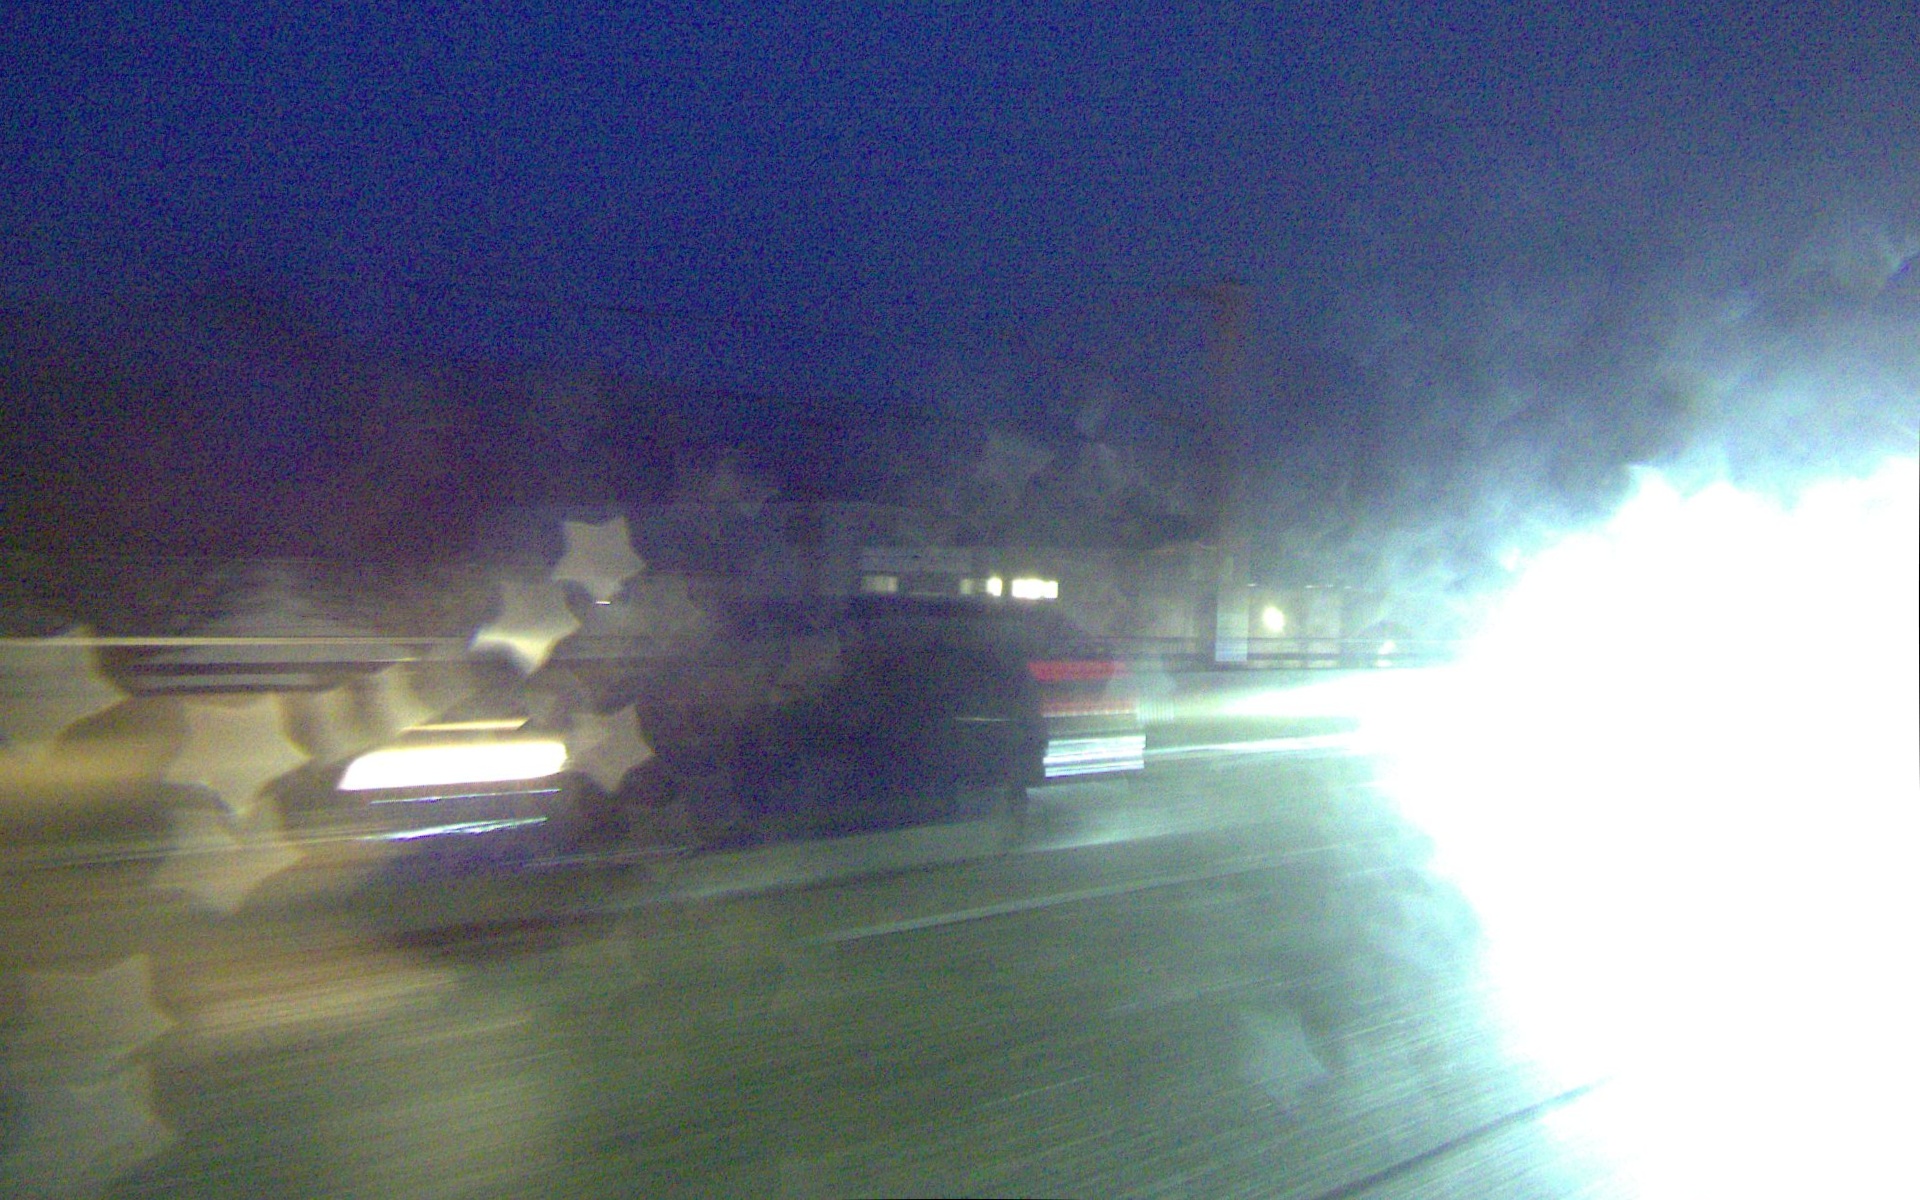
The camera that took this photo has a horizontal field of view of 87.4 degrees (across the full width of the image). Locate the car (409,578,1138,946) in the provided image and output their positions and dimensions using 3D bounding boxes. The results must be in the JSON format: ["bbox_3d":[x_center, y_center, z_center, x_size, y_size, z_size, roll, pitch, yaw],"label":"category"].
[{"bbox_3d":[-1.052,0.720,6.078,3.942,1.557,1.869,1,0,-31],"label":"car"}]

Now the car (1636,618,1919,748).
[{"bbox_3d":[11.738,1.032,13.924,4.936,1.468,2.066,1,0,-32],"label":"car"}]
